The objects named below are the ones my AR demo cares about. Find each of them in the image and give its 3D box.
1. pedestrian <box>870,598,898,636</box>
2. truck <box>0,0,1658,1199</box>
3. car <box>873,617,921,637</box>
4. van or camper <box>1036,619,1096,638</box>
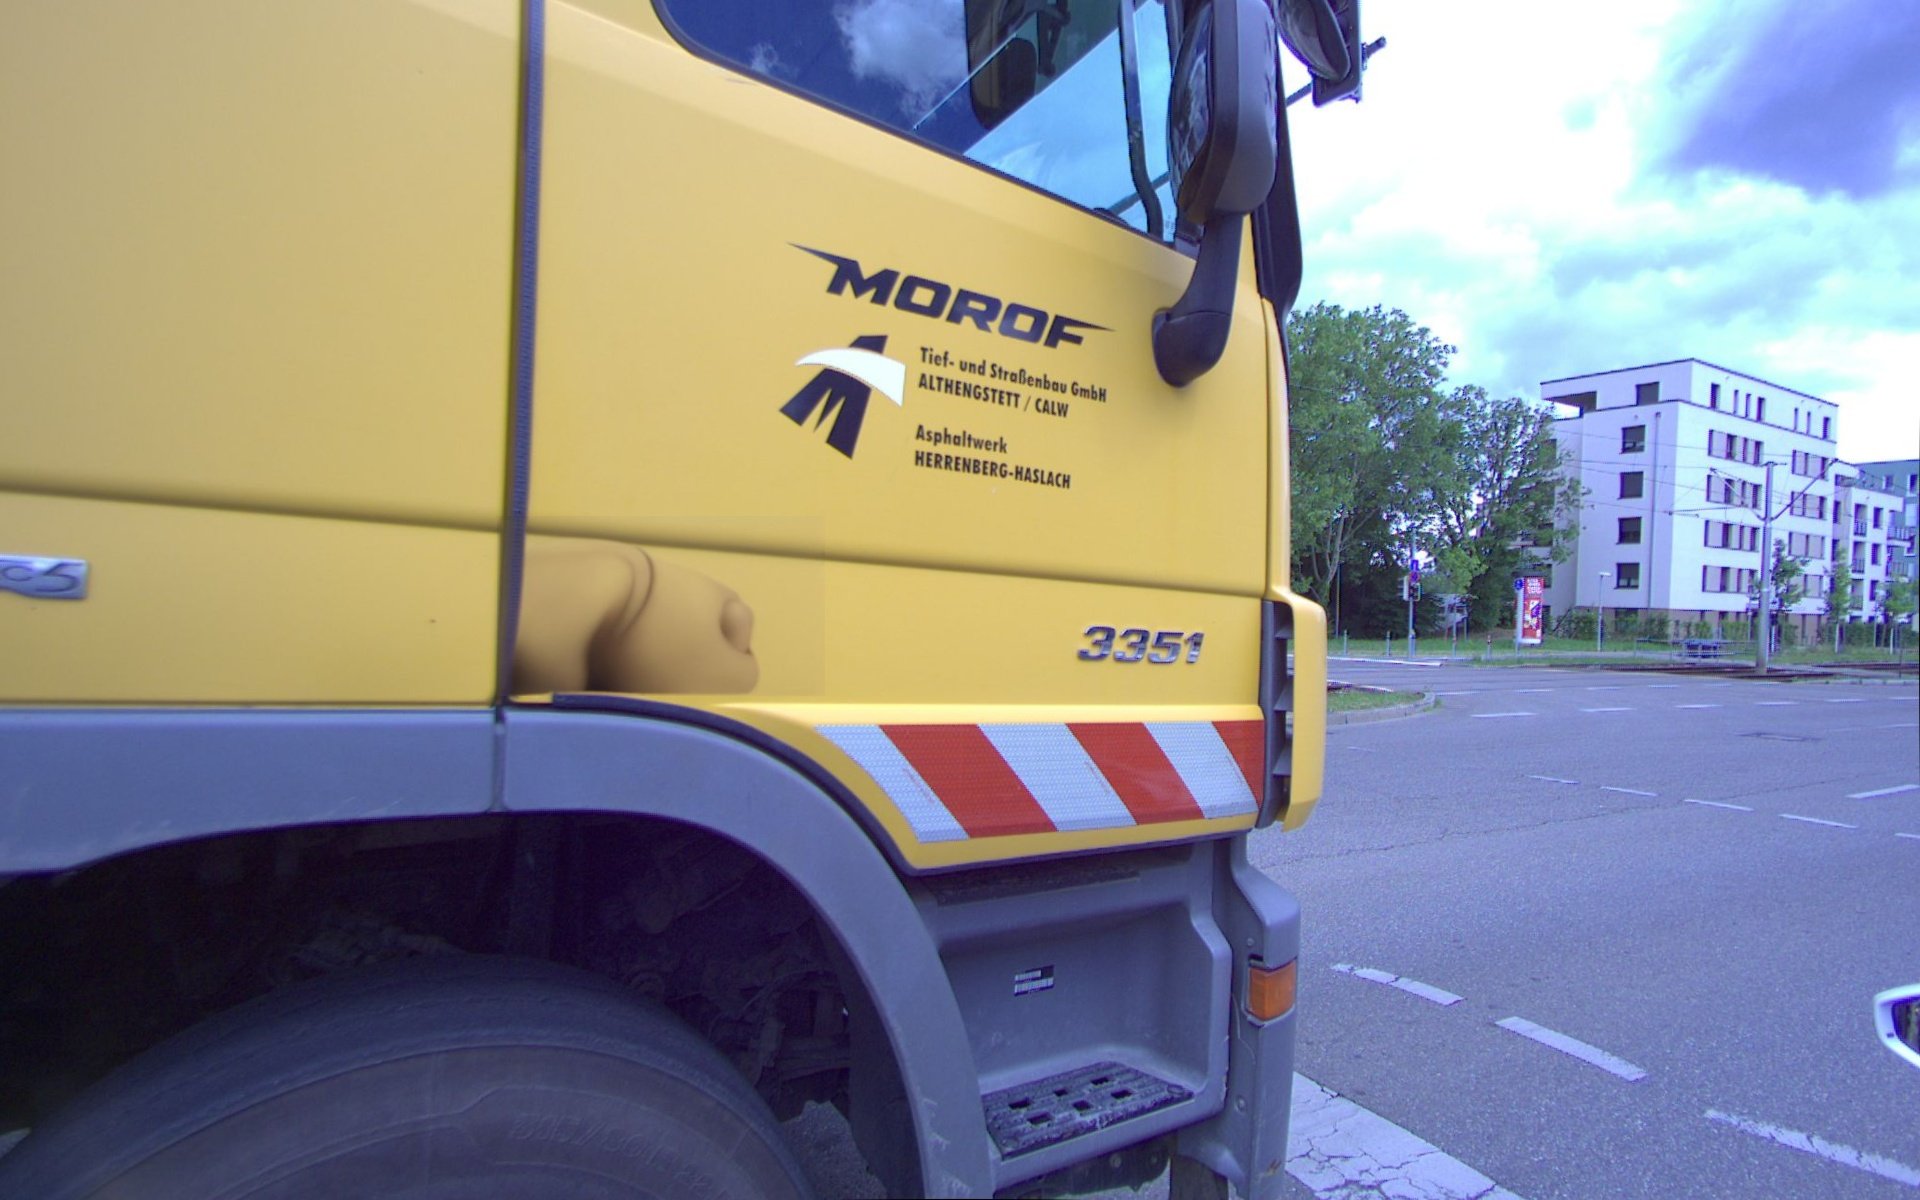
[{"bbox_3d":[-3.475,0.794,45.914,0.980,1.692,0.849,2,0,-29],"label":"pedestrian"},{"bbox_3d":[-2.956,-0.063,0.773,7.687,3.043,2.707,2,0,-30],"label":"truck"},{"bbox_3d":[-5.239,2.266,83.706,3.545,1.557,1.863,1,0,-23],"label":"car"},{"bbox_3d":[8.980,2.407,85.060,4.946,1.553,1.850,1,0,-29],"label":"van or camper"}]
